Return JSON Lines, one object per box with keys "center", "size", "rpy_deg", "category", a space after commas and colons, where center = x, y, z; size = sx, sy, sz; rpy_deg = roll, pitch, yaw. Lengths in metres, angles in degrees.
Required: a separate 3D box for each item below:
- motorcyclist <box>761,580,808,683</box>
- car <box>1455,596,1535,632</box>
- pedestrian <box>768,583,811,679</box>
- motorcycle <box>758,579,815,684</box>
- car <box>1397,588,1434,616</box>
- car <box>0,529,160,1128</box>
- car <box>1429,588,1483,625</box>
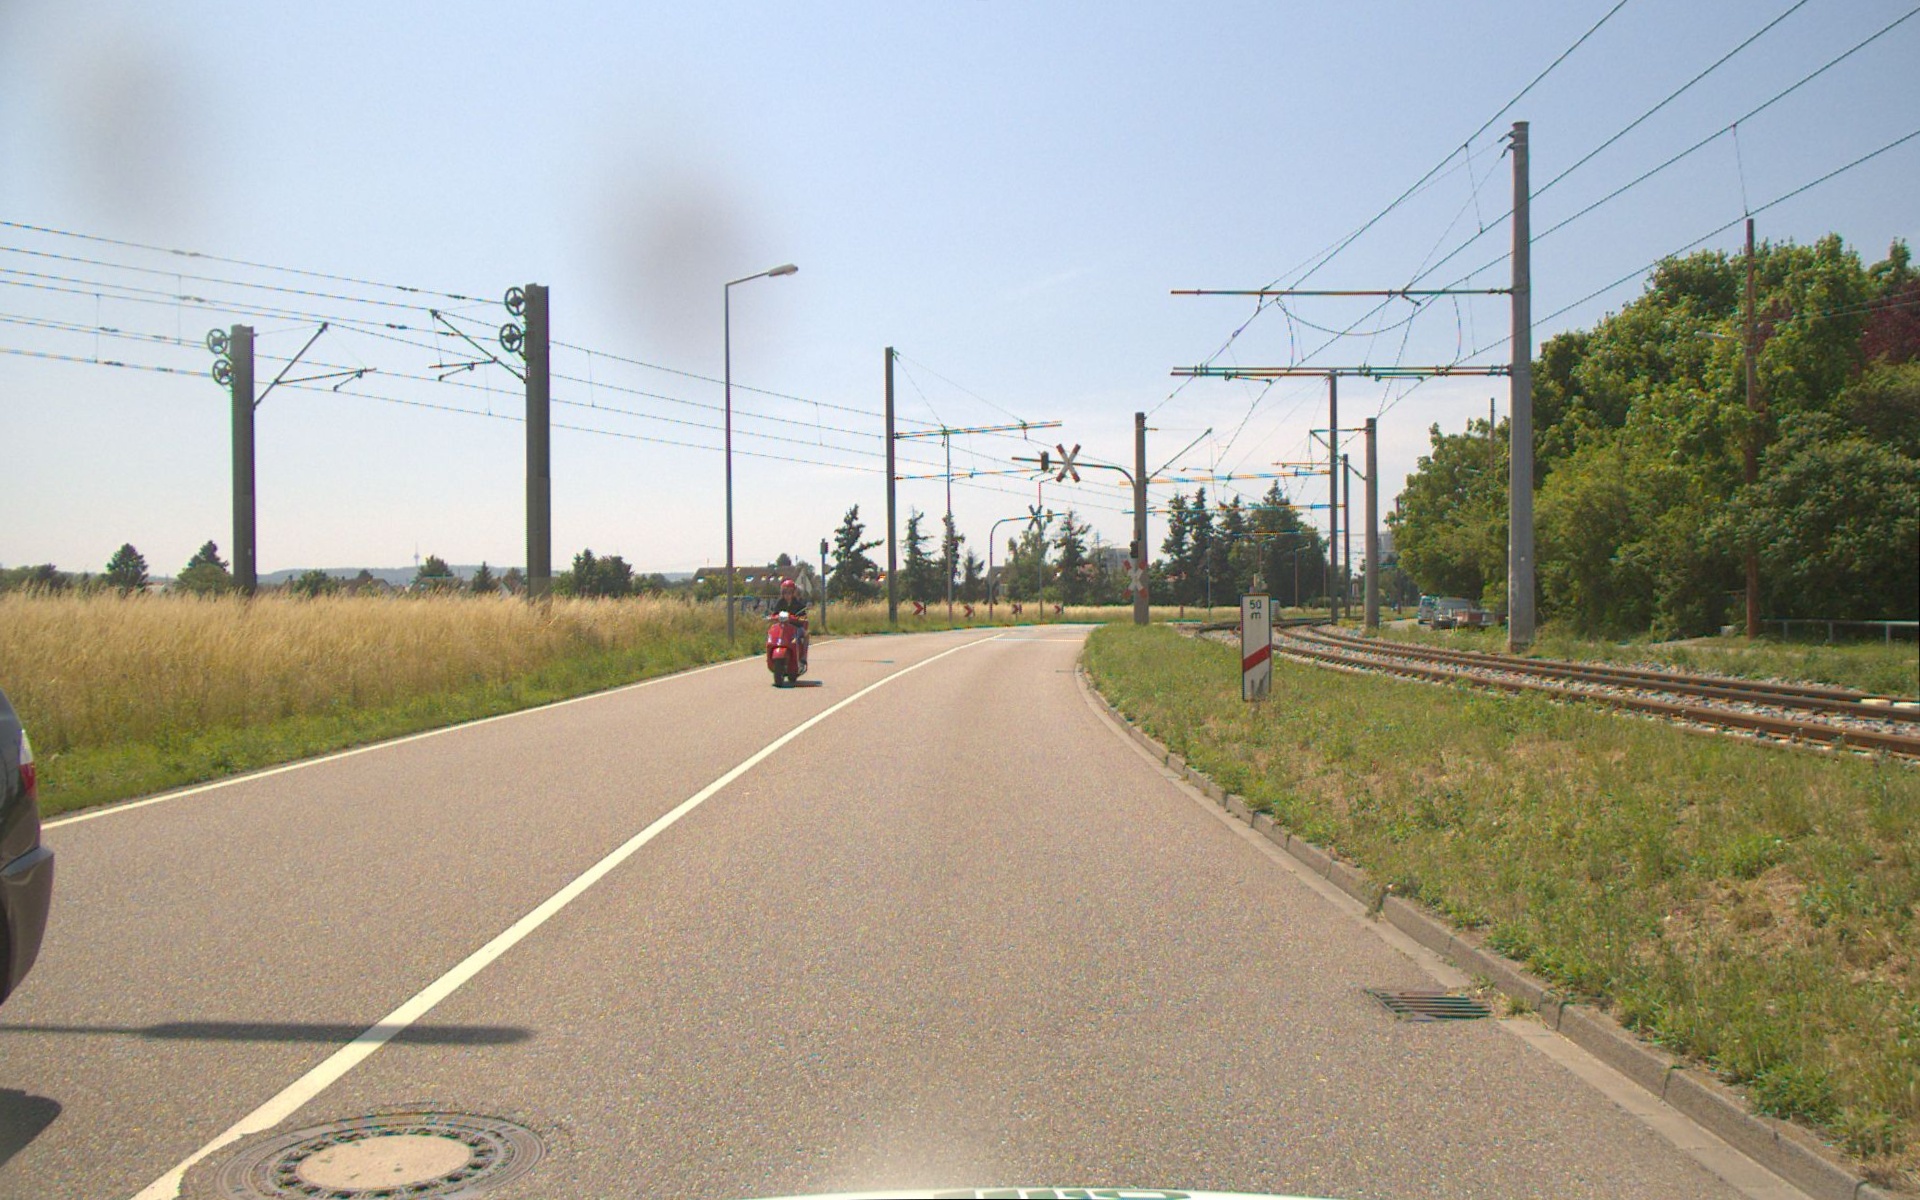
{"center": [-2.830, 0.501, 26.725], "size": [0.674, 1.613, 0.670], "rpy_deg": [-1, 2, -1], "category": "motorcyclist"}
{"center": [19.221, 0.523, 59.567], "size": [1.611, 1.191, 3.667], "rpy_deg": [-1, -1, -2], "category": "car"}
{"center": [-2.818, 0.506, 27.426], "size": [0.629, 1.563, 0.577], "rpy_deg": [-1, 1, 0], "category": "pedestrian"}
{"center": [-2.806, 0.479, 26.953], "size": [0.689, 1.614, 2.147], "rpy_deg": [-1, 2, 0], "category": "motorcycle"}
{"center": [32.608, 0.181, 118.360], "size": [1.994, 1.915, 5.068], "rpy_deg": [-1, -2, 21], "category": "car"}
{"center": [-3.523, 0.637, 3.142], "size": [1.789, 1.629, 4.484], "rpy_deg": [0, 0, 0], "category": "car"}
{"center": [21.146, 0.315, 70.617], "size": [1.758, 1.451, 4.744], "rpy_deg": [-1, -1, 12], "category": "car"}
